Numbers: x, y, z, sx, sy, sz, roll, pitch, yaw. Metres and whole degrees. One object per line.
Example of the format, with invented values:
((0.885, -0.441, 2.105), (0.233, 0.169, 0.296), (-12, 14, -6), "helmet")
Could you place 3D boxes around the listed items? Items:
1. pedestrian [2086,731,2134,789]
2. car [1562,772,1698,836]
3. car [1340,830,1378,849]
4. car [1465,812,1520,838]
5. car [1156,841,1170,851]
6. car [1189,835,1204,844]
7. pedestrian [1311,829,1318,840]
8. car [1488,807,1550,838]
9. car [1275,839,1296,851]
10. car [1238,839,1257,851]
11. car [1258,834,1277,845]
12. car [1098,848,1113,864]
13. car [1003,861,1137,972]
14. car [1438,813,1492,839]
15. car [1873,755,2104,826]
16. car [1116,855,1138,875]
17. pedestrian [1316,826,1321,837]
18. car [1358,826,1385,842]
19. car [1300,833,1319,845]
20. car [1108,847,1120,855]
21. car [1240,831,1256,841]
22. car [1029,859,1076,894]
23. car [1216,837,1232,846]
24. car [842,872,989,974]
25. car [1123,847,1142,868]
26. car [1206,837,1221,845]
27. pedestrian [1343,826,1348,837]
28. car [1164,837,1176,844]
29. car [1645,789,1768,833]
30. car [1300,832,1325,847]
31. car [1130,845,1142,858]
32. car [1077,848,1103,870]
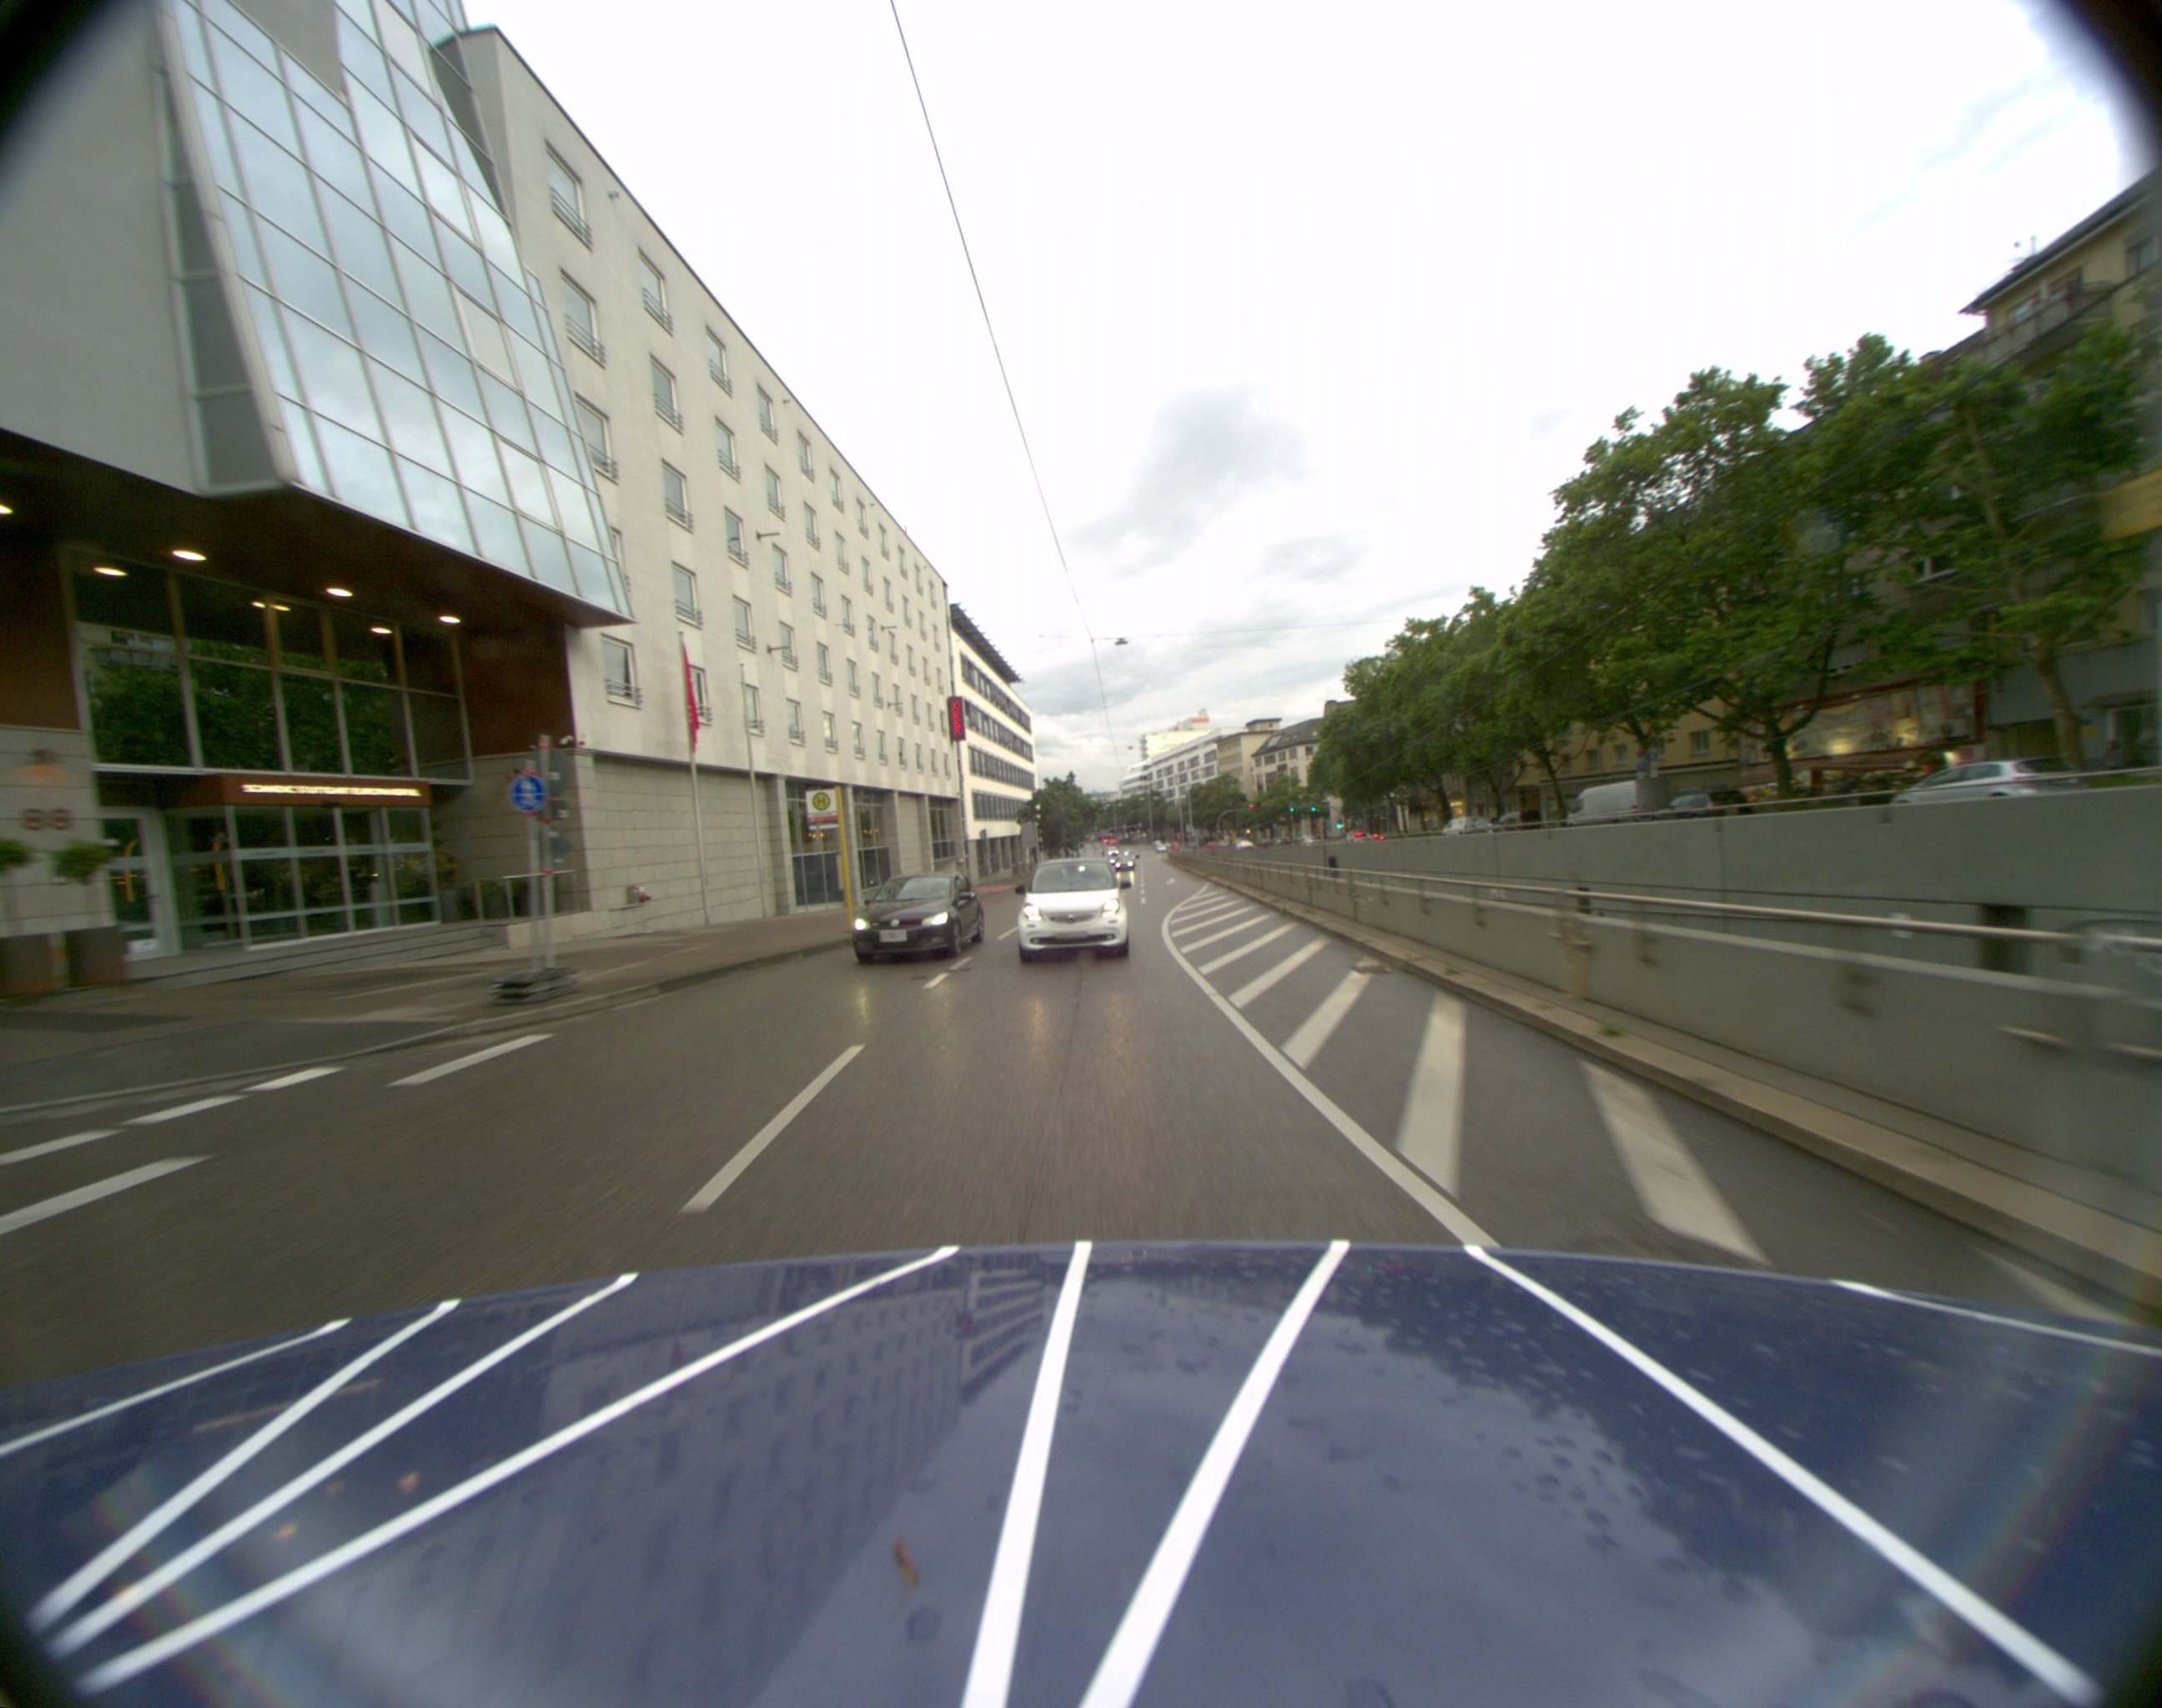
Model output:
((33.322, -3.037, 24.611), (0.524, 1.738, 0.622), (-8, 1, 14), "pedestrian")
((28.211, -2.458, 39.465), (2.457, 2.647, 6.934), (-6, 0, 7), "car")
((25.101, -1.271, 68.737), (2.030, 1.501, 4.885), (-6, 0, 7), "car")
((30.241, -2.065, 55.977), (1.881, 1.574, 4.474), (-6, 0, 5), "car")
((16.616, -1.671, 154.633), (1.800, 1.733, 3.997), (-7, 1, -7), "car")
((24.170, -3.048, 158.875), (1.800, 1.549, 4.832), (-5, 1, -8), "car")
((41.221, -3.434, 134.329), (0.835, 1.774, 0.616), (-6, 2, -3), "pedestrian")
((29.439, -2.078, 51.229), (1.798, 1.719, 4.207), (-6, 0, 4), "car")
((28.761, -1.330, 106.928), (1.798, 1.502, 4.344), (-5, 1, 3), "car")
((27.710, -1.478, 126.699), (1.799, 1.760, 4.729), (-5, 1, -4), "car")
((31.346, -2.404, 127.933), (1.799, 1.501, 3.998), (-7, 1, -4), "car")
((3.424, 0.311, 104.316), (1.798, 1.934, 4.000), (-6, 1, 2), "car")
((-0.022, 0.927, 13.032), (1.798, 1.528, 4.002), (-2, 0, 5), "car")
((30.844, -2.213, 61.195), (1.881, 1.754, 4.902), (-6, 0, 3), "car")
((25.839, -1.730, 21.917), (1.798, 1.562, 4.209), (-6, 0, 7), "car")
((4.201, 0.950, 69.358), (1.798, 1.501, 4.000), (-6, 1, 5), "car")
((41.194, -3.889, 131.656), (0.604, 1.774, 0.526), (-6, 2, -3), "pedestrian")
((32.014, -2.148, 83.694), (1.850, 1.501, 4.019), (-6, 0, 9), "car")
((32.415, -2.132, 107.881), (1.798, 1.570, 4.018), (-6, 0, 7), "car")
((6.994, -0.636, 162.928), (1.800, 1.501, 3.997), (-7, 1, -7), "car")
((32.561, -3.510, 148.388), (1.799, 1.501, 3.940), (-7, 1, -6), "car")
((-1.439, 1.143, 39.870), (1.750, 1.433, 3.707), (-6, 1, 7), "car")
((28.134, -2.456, 149.544), (1.800, 1.502, 3.996), (-6, 1, -9), "car")
((-2.761, 1.099, 13.513), (1.678, 1.391, 3.849), (-3, 0, 0), "car")
((5.635, 0.346, 83.191), (1.798, 2.021, 4.000), (-6, 1, 5), "car")
((25.238, -2.428, 144.991), (1.589, 1.393, 3.878), (-5, 1, -6), "car")
((43.564, -3.687, 125.084), (0.590, 1.799, 0.674), (-6, 2, 11), "pedestrian")
((21.097, -3.207, 180.062), (1.800, 1.552, 3.997), (-6, 1, -9), "car")
((27.082, -1.820, 33.147), (1.798, 1.501, 4.674), (-6, 0, 7), "car")
((28.229, -1.739, 92.802), (1.850, 1.501, 4.822), (-6, 0, 4), "car")
((9.795, -0.471, 134.911), (1.798, 1.934, 4.000), (-6, 1, 2), "car")
((0.824, 0.393, 67.181), (1.798, 1.657, 4.000), (-6, 1, 5), "car")
